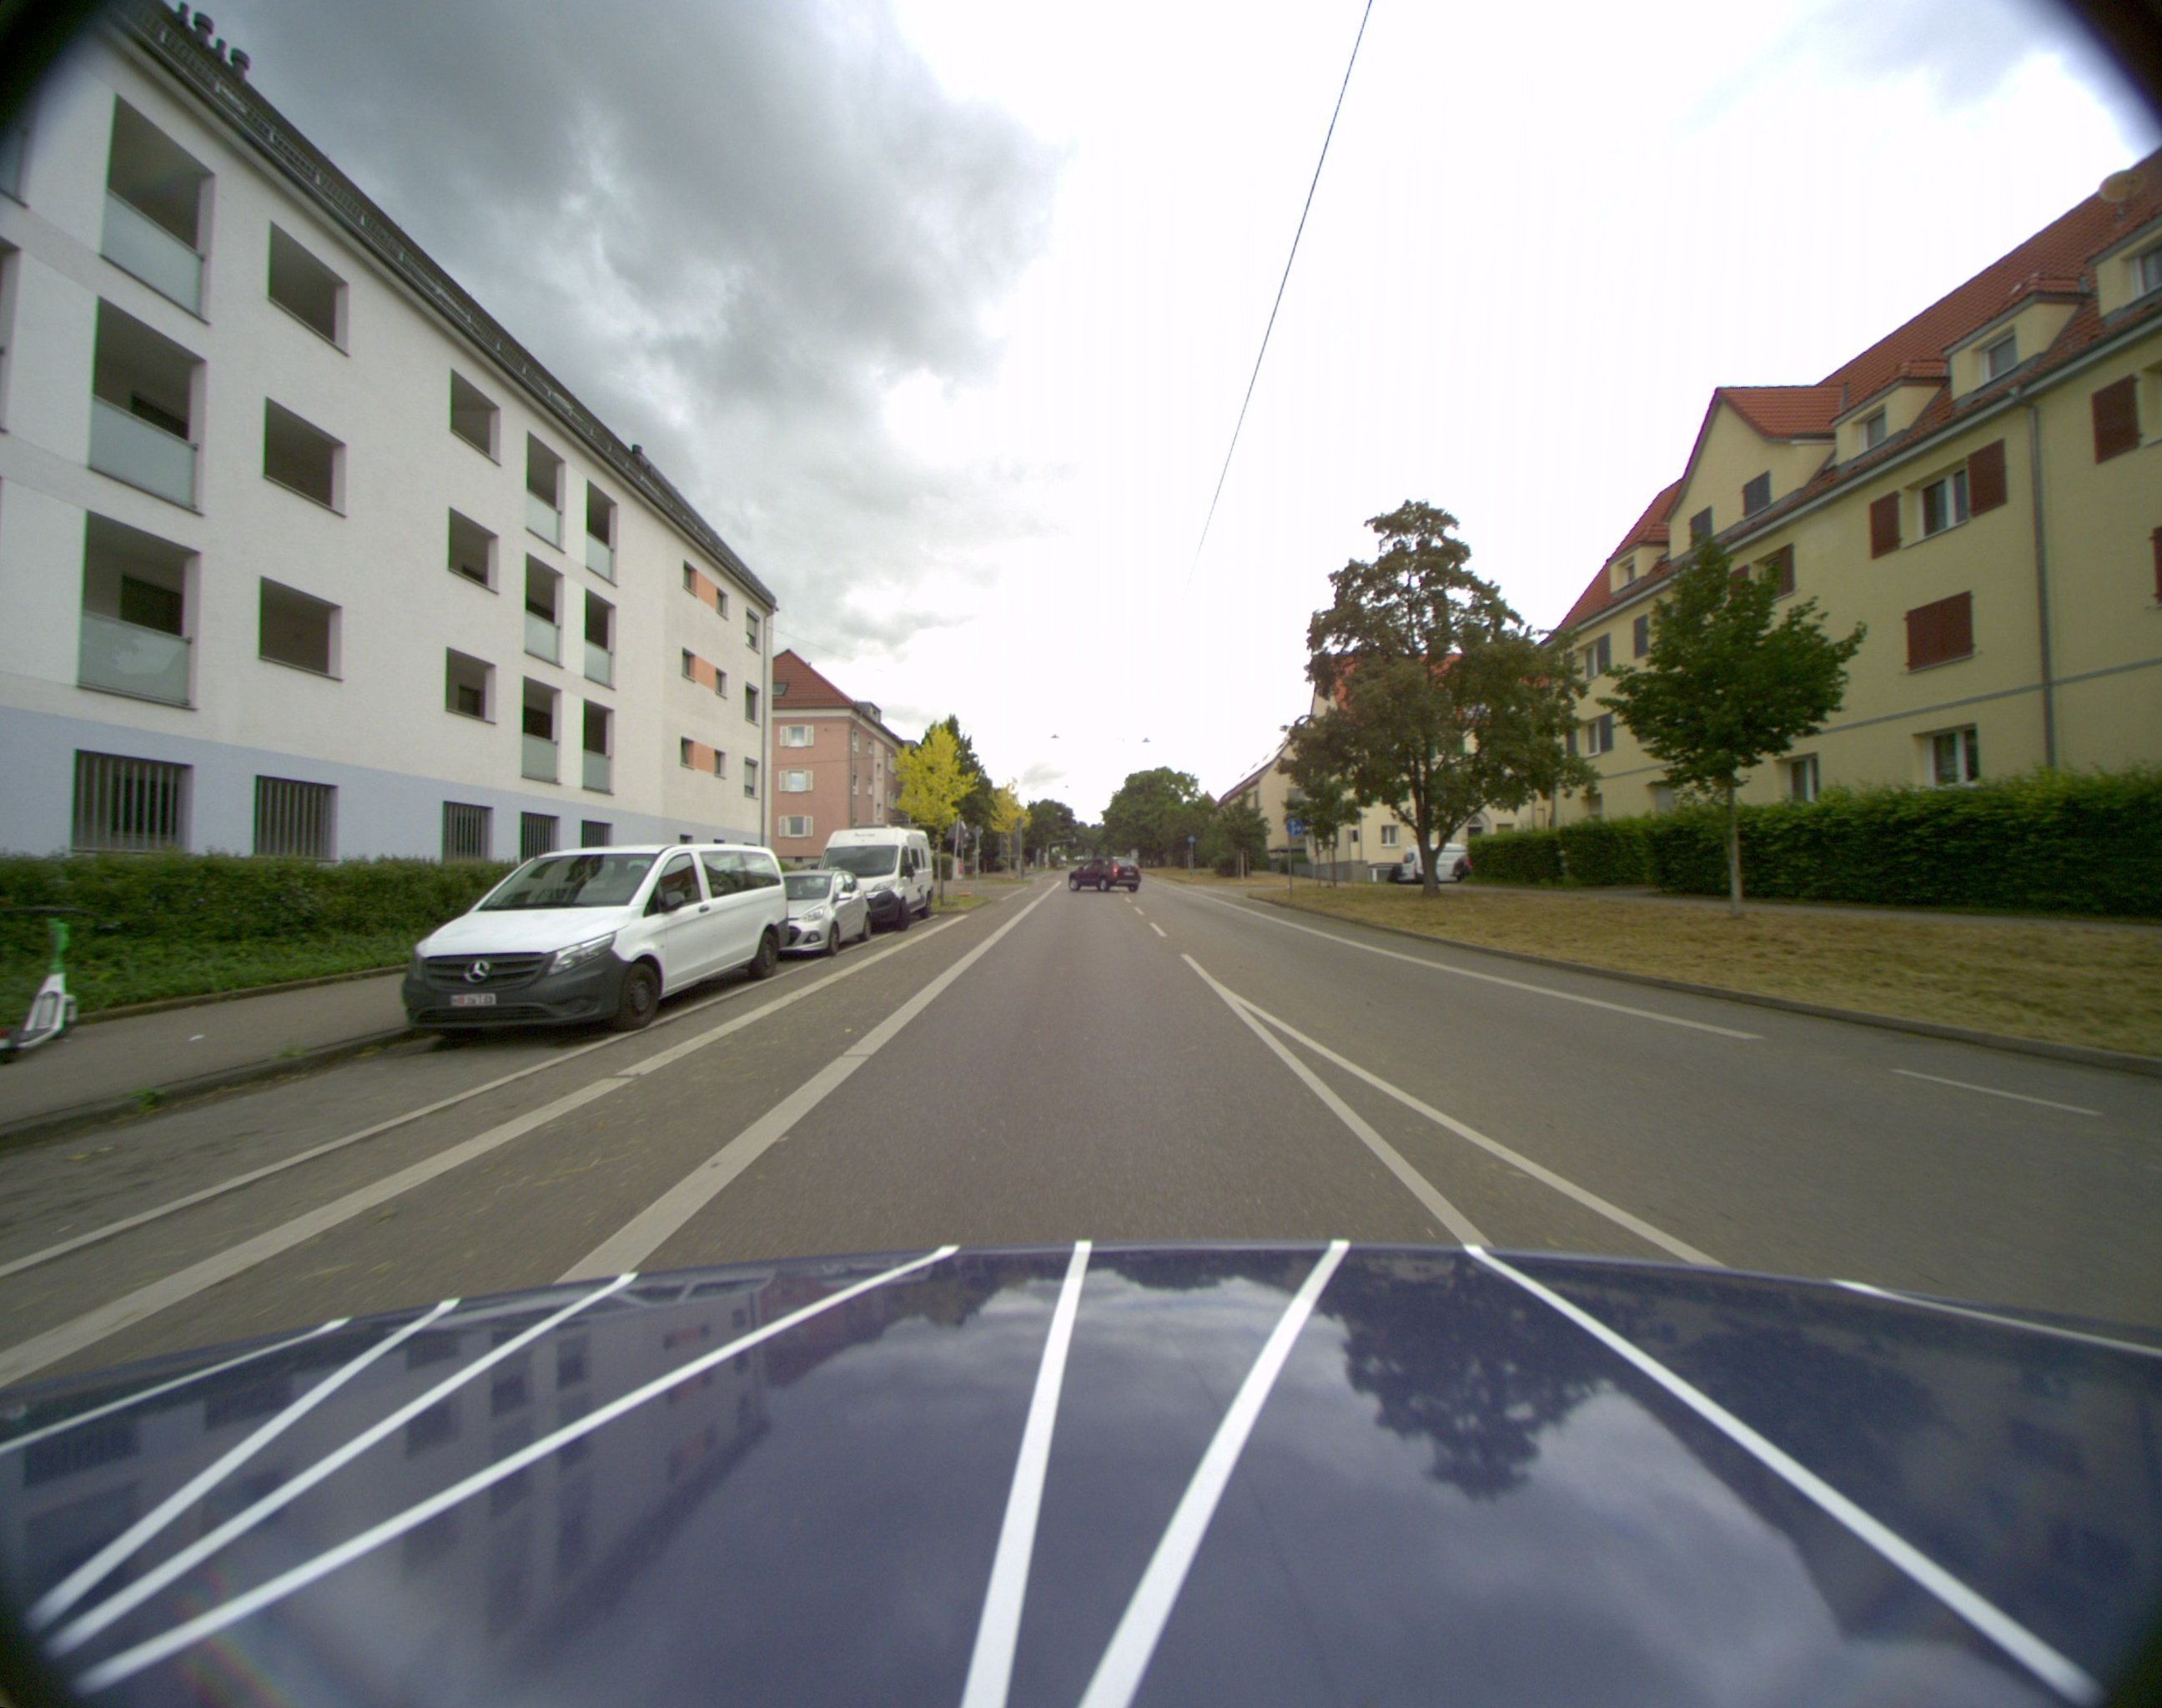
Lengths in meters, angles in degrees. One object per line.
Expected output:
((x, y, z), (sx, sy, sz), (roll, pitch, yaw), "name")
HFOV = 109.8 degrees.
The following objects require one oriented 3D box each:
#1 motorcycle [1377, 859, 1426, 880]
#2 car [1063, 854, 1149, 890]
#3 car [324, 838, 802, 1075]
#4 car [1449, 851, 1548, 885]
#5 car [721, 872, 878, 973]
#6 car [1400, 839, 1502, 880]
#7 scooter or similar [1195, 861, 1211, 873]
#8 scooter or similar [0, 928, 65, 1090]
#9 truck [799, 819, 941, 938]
((19.418, 0.929, 46.012), (2.598, 1.271, 1.019), (0, 1, 33), "motorcycle")
((1.110, 0.827, 36.152), (1.909, 1.610, 4.350), (-1, 0, -33), "car")
((-5.252, 0.871, 8.905), (1.998, 1.932, 5.211), (-1, 0, 0), "car")
((20.545, 0.706, 37.490), (3.914, 1.520, 1.692), (-1, -4, 0), "car")
((-4.988, 1.139, 13.981), (1.529, 1.477, 3.726), (-2, 0, -2), "car")
((20.688, 0.305, 42.612), (4.729, 2.240, 1.995), (0, 0, 1), "car")
((10.902, 1.140, 68.072), (1.374, 1.080, 0.466), (0, 0, -4), "scooter or similar")
((-8.459, 1.187, 6.019), (1.382, 1.098, 0.471), (-1, 0, 37), "scooter or similar")
((-5.141, 0.560, 19.502), (2.058, 2.550, 5.689), (-1, 0, 0), "truck")
